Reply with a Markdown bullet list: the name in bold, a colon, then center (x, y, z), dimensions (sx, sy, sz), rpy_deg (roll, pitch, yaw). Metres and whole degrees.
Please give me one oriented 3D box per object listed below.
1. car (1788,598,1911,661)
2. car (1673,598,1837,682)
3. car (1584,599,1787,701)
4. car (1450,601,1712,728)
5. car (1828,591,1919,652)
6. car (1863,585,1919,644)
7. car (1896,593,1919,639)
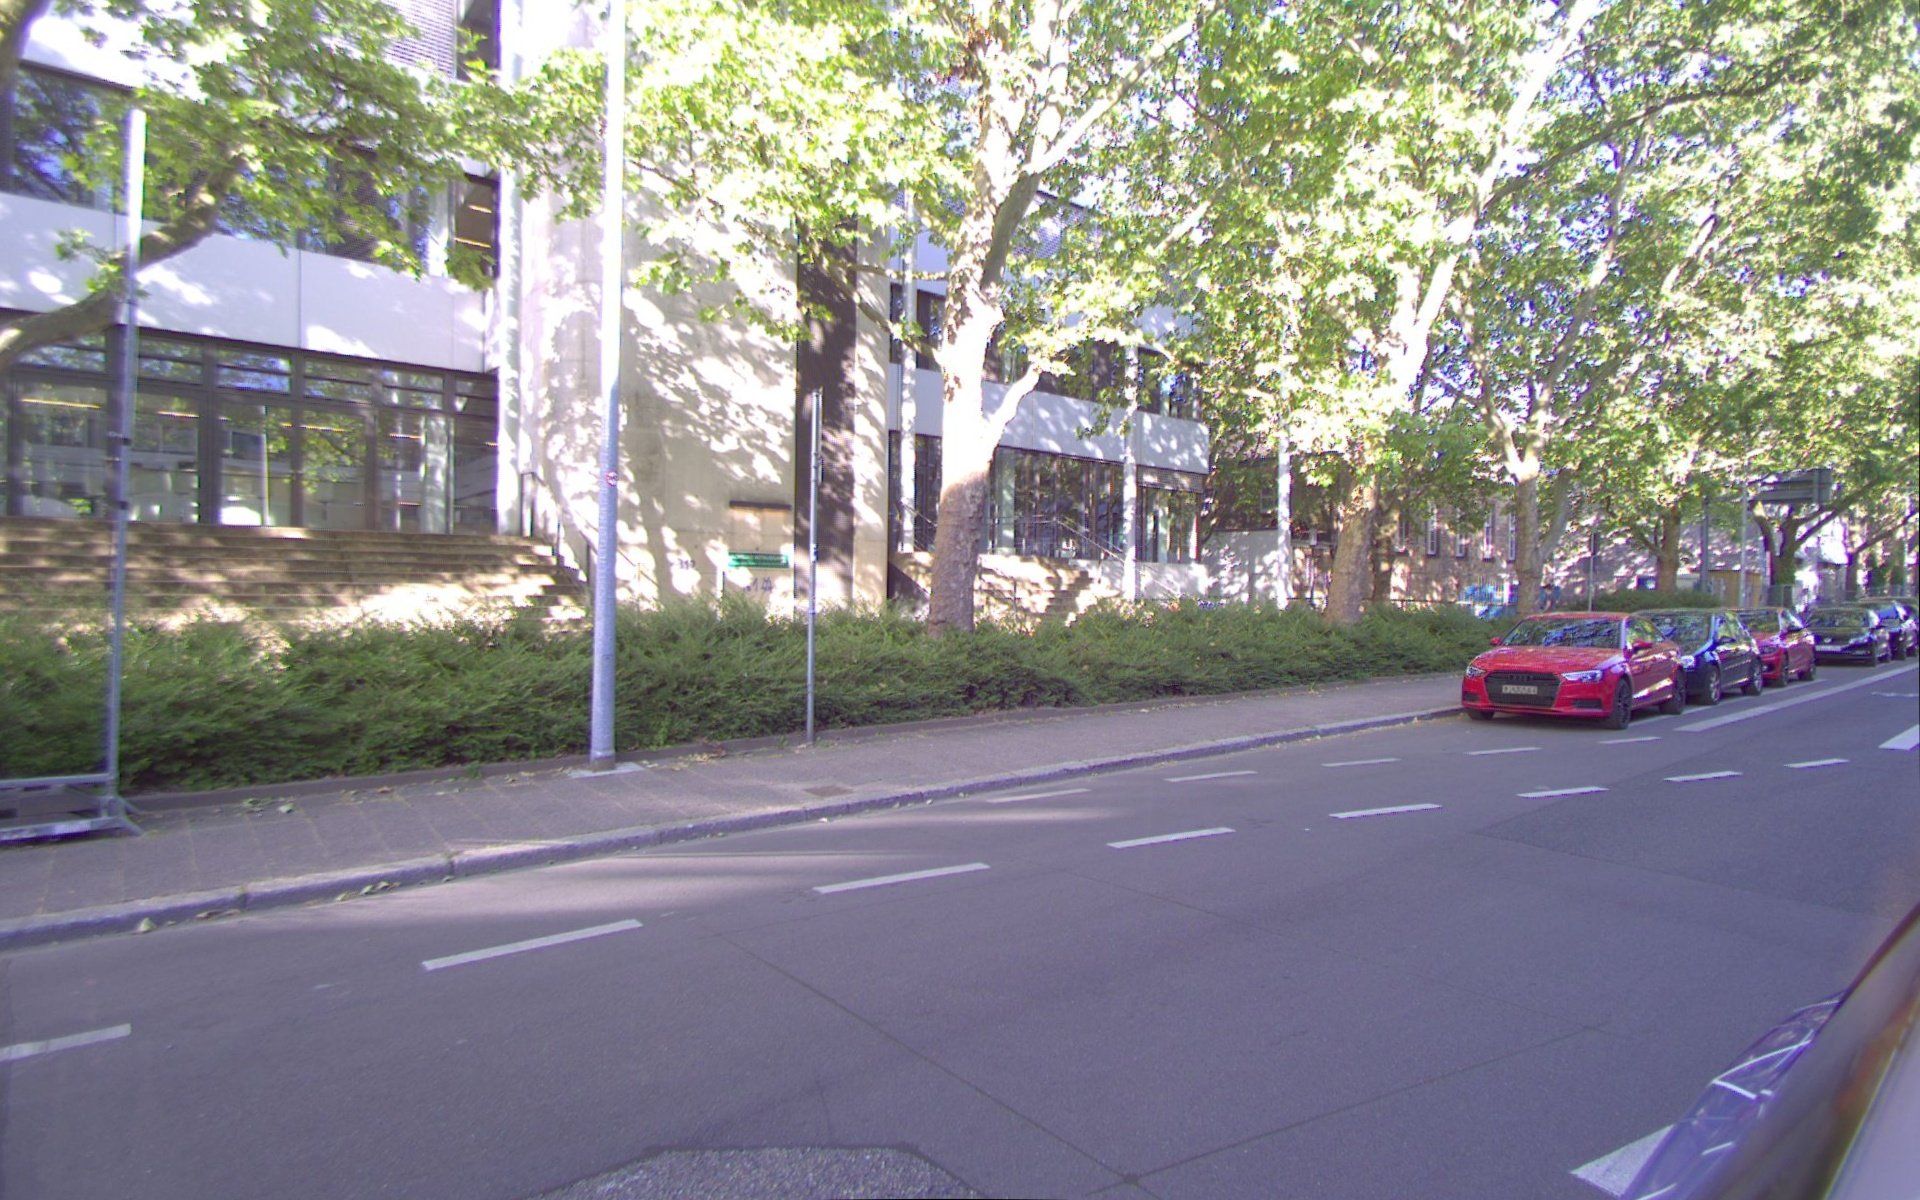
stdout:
- **car**: center (22.880, 0.701, 25.997), dimensions (4.095, 1.486, 1.834), rpy_deg (0, 0, -41)
- **car**: center (15.847, 0.708, 20.105), dimensions (4.095, 1.486, 1.834), rpy_deg (0, 0, -41)
- **car**: center (12.032, 0.718, 16.691), dimensions (4.095, 1.464, 1.834), rpy_deg (0, 0, -41)
- **car**: center (8.412, 0.736, 13.575), dimensions (4.173, 1.422, 1.834), rpy_deg (0, 0, -41)
- **car**: center (26.569, 0.571, 29.091), dimensions (4.088, 1.626, 1.834), rpy_deg (0, 0, -40)
- **car**: center (31.055, 0.437, 32.980), dimensions (4.383, 1.820, 1.834), rpy_deg (0, 0, -40)
- **car**: center (35.918, 0.579, 37.105), dimensions (4.183, 1.634, 1.834), rpy_deg (0, 0, -40)
